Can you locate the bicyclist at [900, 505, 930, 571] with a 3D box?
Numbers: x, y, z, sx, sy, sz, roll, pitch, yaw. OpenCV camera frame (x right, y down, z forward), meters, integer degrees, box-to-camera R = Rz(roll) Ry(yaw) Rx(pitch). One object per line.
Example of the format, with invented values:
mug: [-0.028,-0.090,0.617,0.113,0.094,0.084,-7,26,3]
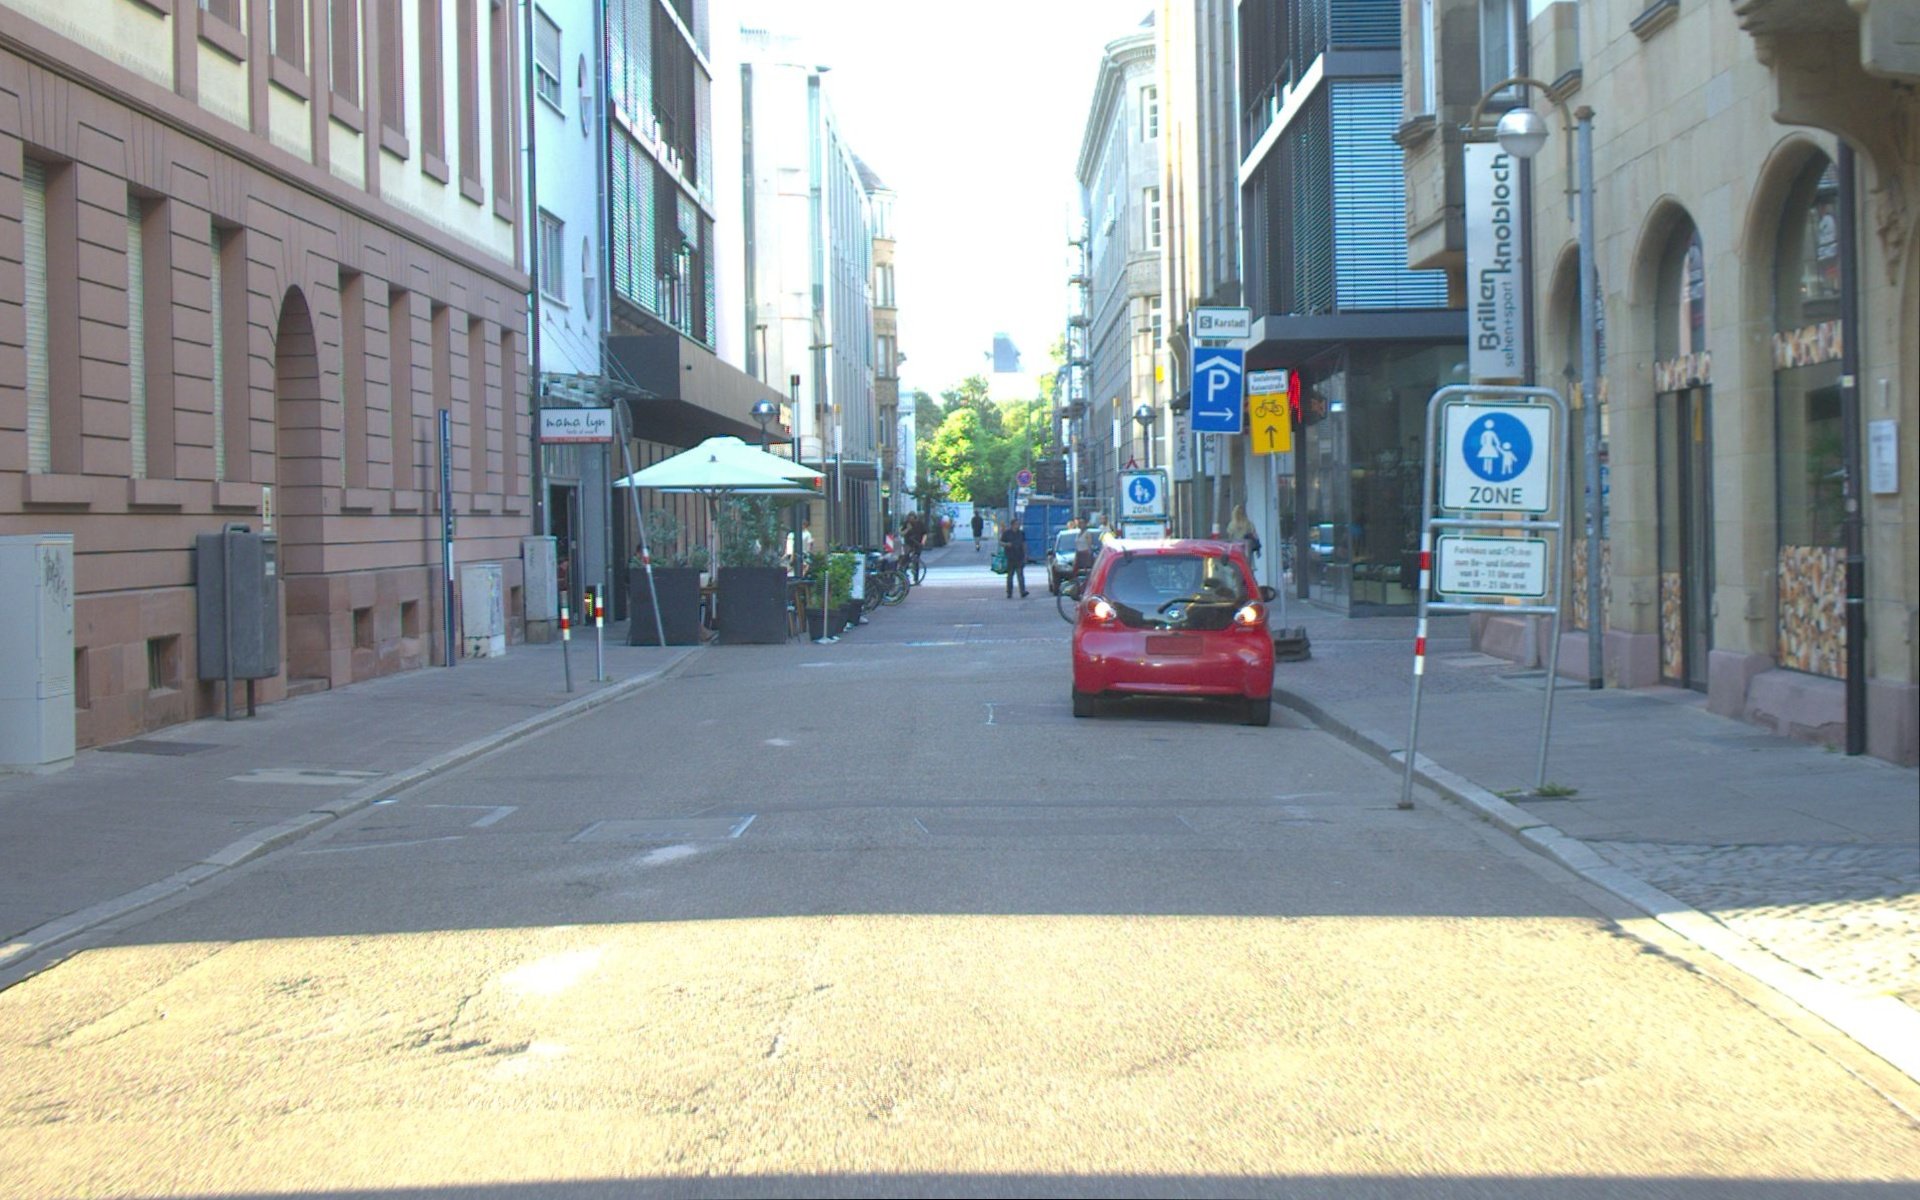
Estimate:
bicyclist: [-1.118,-1.561,85.879,0.636,1.635,0.772,-1,1,-8]

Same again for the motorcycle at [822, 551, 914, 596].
motorcycle: [-1.839,-0.532,68.699,1.801,0.872,0.560,-1,1,-3]

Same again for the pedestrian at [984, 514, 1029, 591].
pedestrian: [1.050,-1.066,77.303,0.865,1.707,0.852,-1,1,-8]

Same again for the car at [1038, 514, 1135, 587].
car: [2.848,-1.147,78.224,1.993,1.605,4.000,-1,1,-1]

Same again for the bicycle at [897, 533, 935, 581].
bicycle: [-1.104,-1.080,85.811,0.636,1.153,2.502,-1,1,-8]

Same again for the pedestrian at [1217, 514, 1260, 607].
pedestrian: [4.451,-0.634,55.003,0.656,1.482,0.493,-1,1,3]

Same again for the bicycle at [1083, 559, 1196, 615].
bicycle: [2.556,-0.192,49.037,1.565,0.766,0.557,-1,1,-3]

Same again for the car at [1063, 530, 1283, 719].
car: [1.725,0.156,28.791,1.649,1.422,3.535,2,1,1]

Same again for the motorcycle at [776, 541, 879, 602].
motorcycle: [-2.333,-0.502,60.515,1.801,1.037,0.494,-1,1,-3]

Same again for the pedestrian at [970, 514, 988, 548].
pedestrian: [0.948,-3.420,170.030,0.804,1.667,0.888,-1,1,3]

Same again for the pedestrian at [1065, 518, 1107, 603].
pedestrian: [2.409,-0.760,65.793,0.634,1.614,0.465,0,2,41]

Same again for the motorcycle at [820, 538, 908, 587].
motorcycle: [-1.991,-0.776,71.361,1.801,0.986,0.560,-1,1,-3]

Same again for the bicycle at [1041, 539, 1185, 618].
bicycle: [2.242,-0.320,50.584,2.052,1.130,0.649,-1,1,-3]

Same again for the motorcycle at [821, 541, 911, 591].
motorcycle: [-1.912,-0.690,69.727,1.801,0.986,0.560,-1,1,-3]

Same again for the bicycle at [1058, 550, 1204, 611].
bicycle: [2.645,-0.311,53.329,2.200,0.902,0.649,-1,1,-3]

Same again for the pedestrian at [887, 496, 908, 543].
pedestrian: [-2.179,-2.812,119.522,0.678,1.617,0.625,-1,1,3]

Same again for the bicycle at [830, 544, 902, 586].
bicycle: [-2.058,-0.777,75.374,1.518,0.893,0.485,-1,1,-27]

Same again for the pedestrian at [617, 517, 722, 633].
pedestrian: [-3.760,-0.332,44.597,1.290,1.482,0.661,-1,1,-1]
